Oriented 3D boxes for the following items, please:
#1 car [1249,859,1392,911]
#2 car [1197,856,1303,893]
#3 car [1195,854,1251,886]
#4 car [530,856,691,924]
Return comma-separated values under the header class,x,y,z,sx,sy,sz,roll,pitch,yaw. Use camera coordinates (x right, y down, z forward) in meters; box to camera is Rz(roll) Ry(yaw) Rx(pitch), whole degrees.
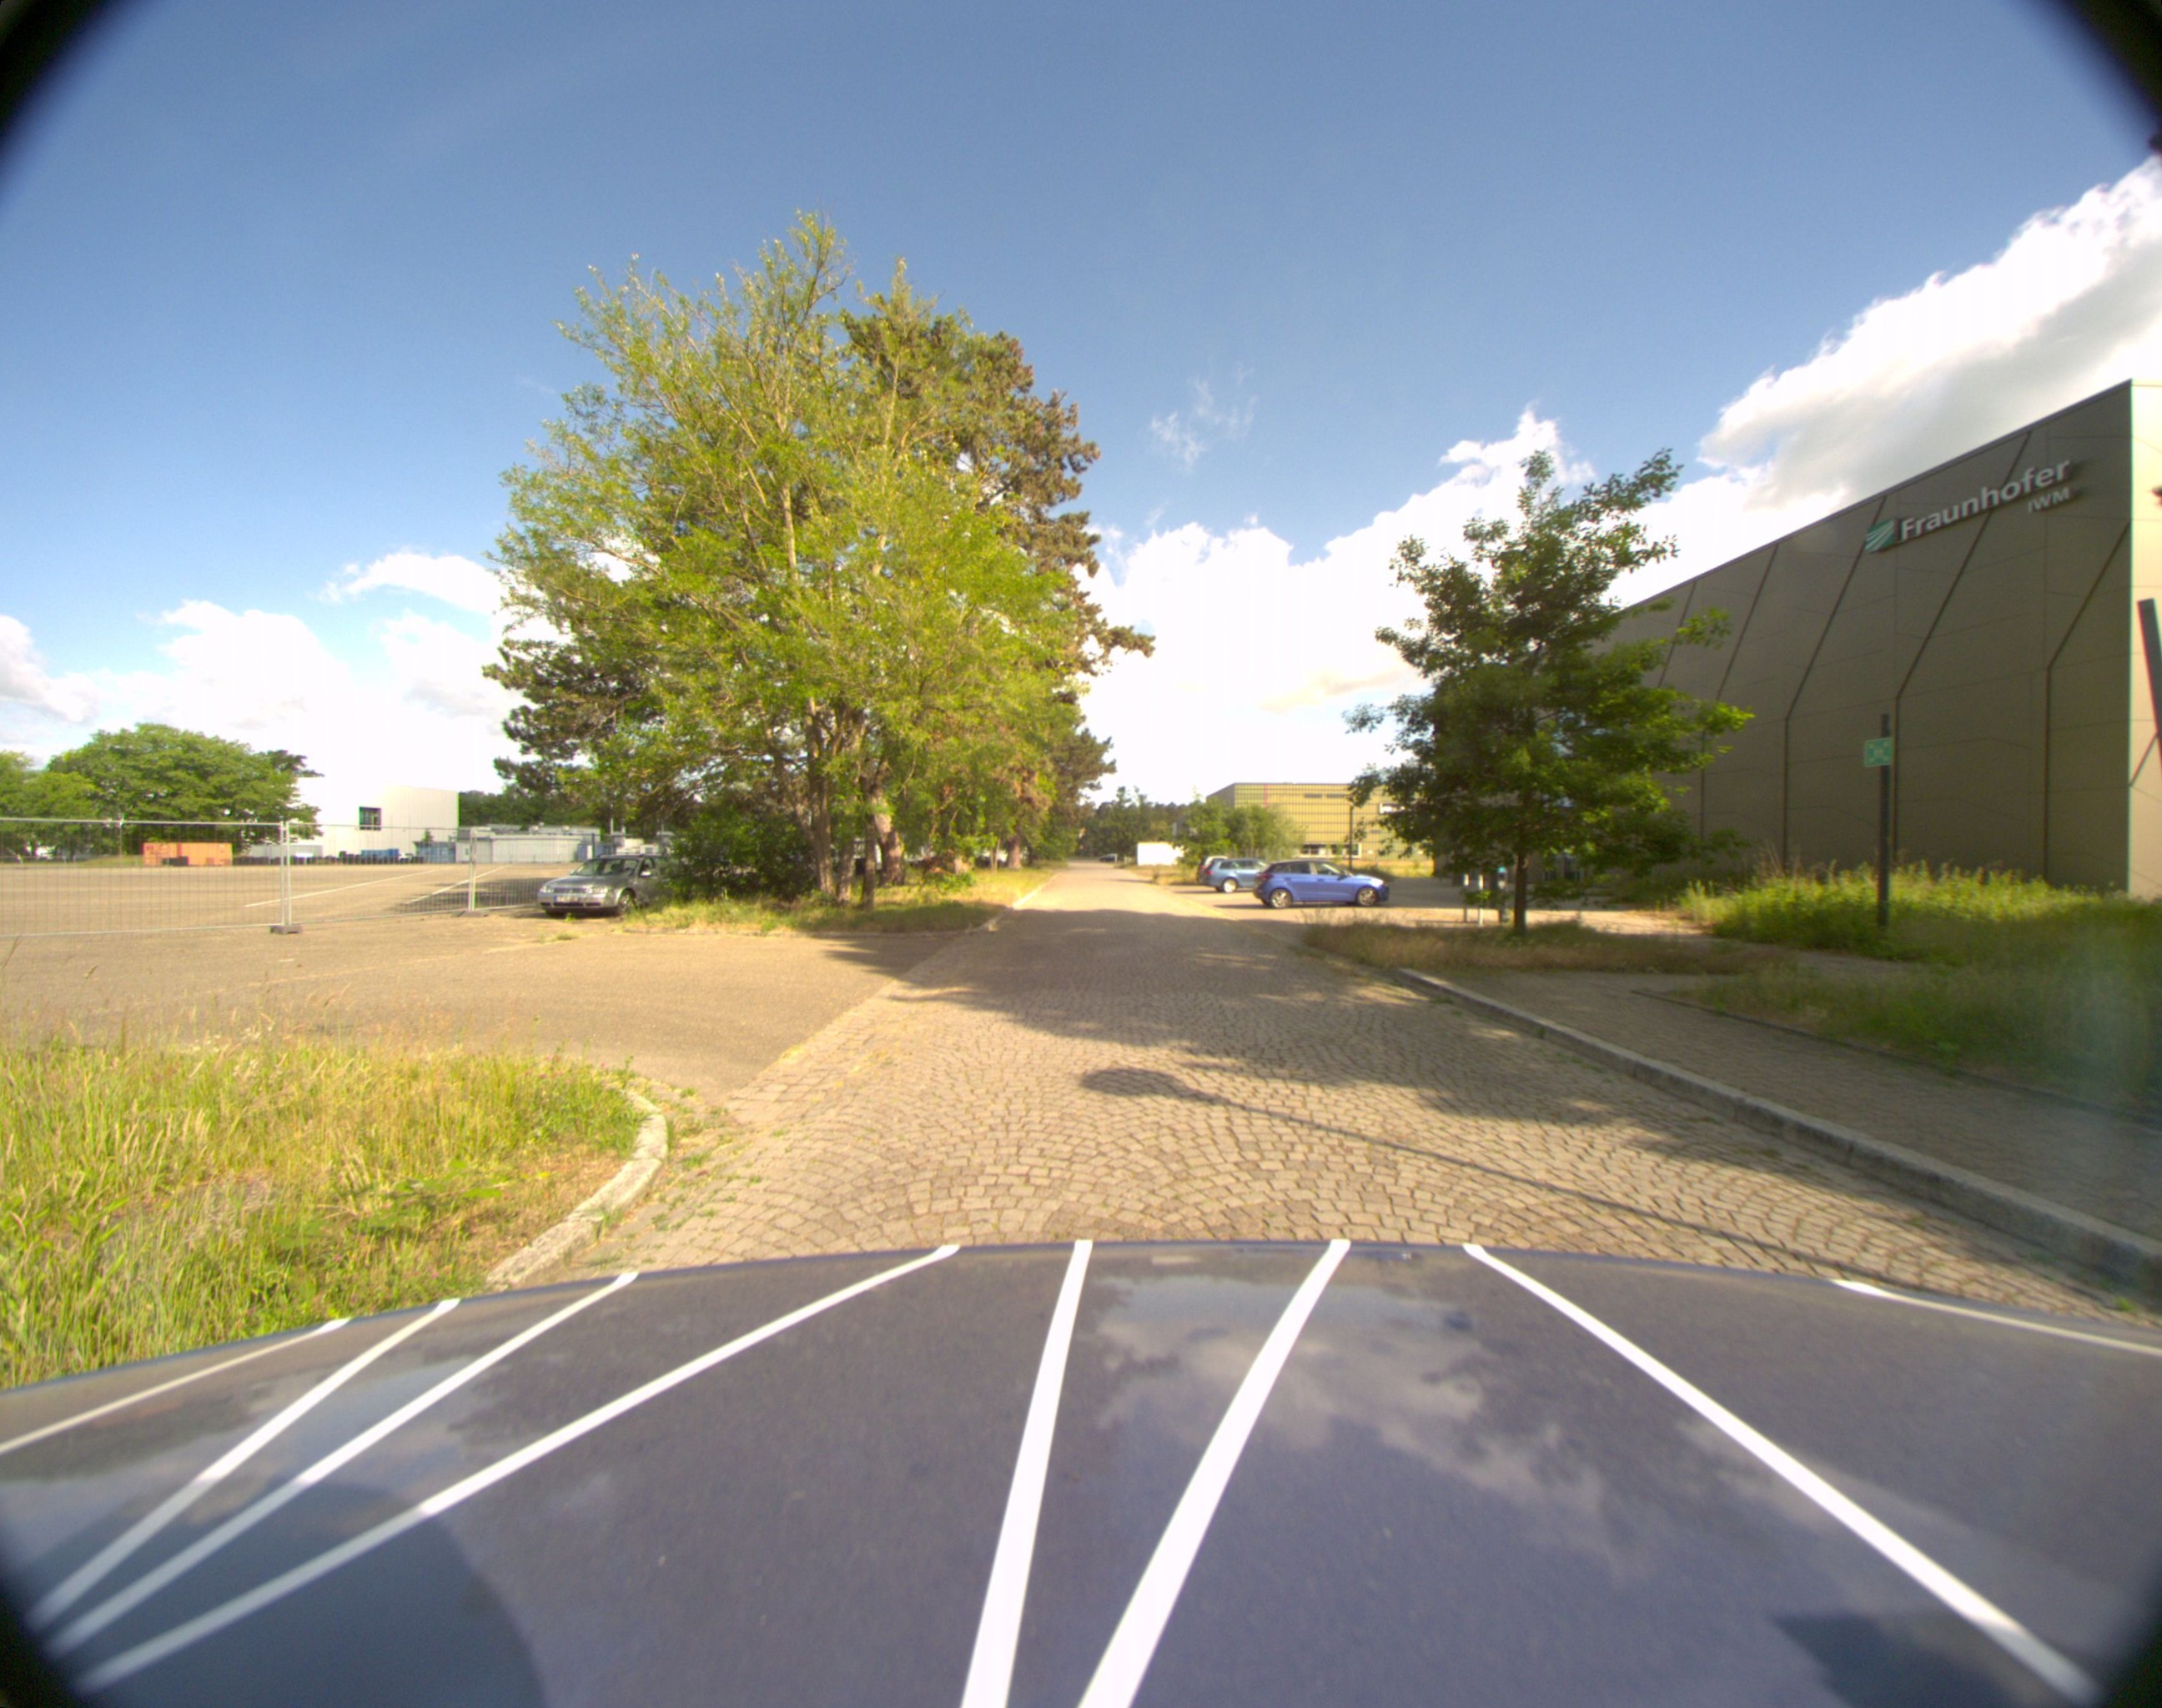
class,x,y,z,sx,sy,sz,roll,pitch,yaw
car,7.318,0.947,23.508,3.918,1.459,1.735,-1,0,3
car,7.269,0.855,32.963,4.180,1.465,1.734,-1,0,-2
car,7.502,0.834,40.351,2.652,1.559,1.481,-1,1,-1
car,-11.197,0.780,18.430,1.579,1.435,3.985,0,0,-3
